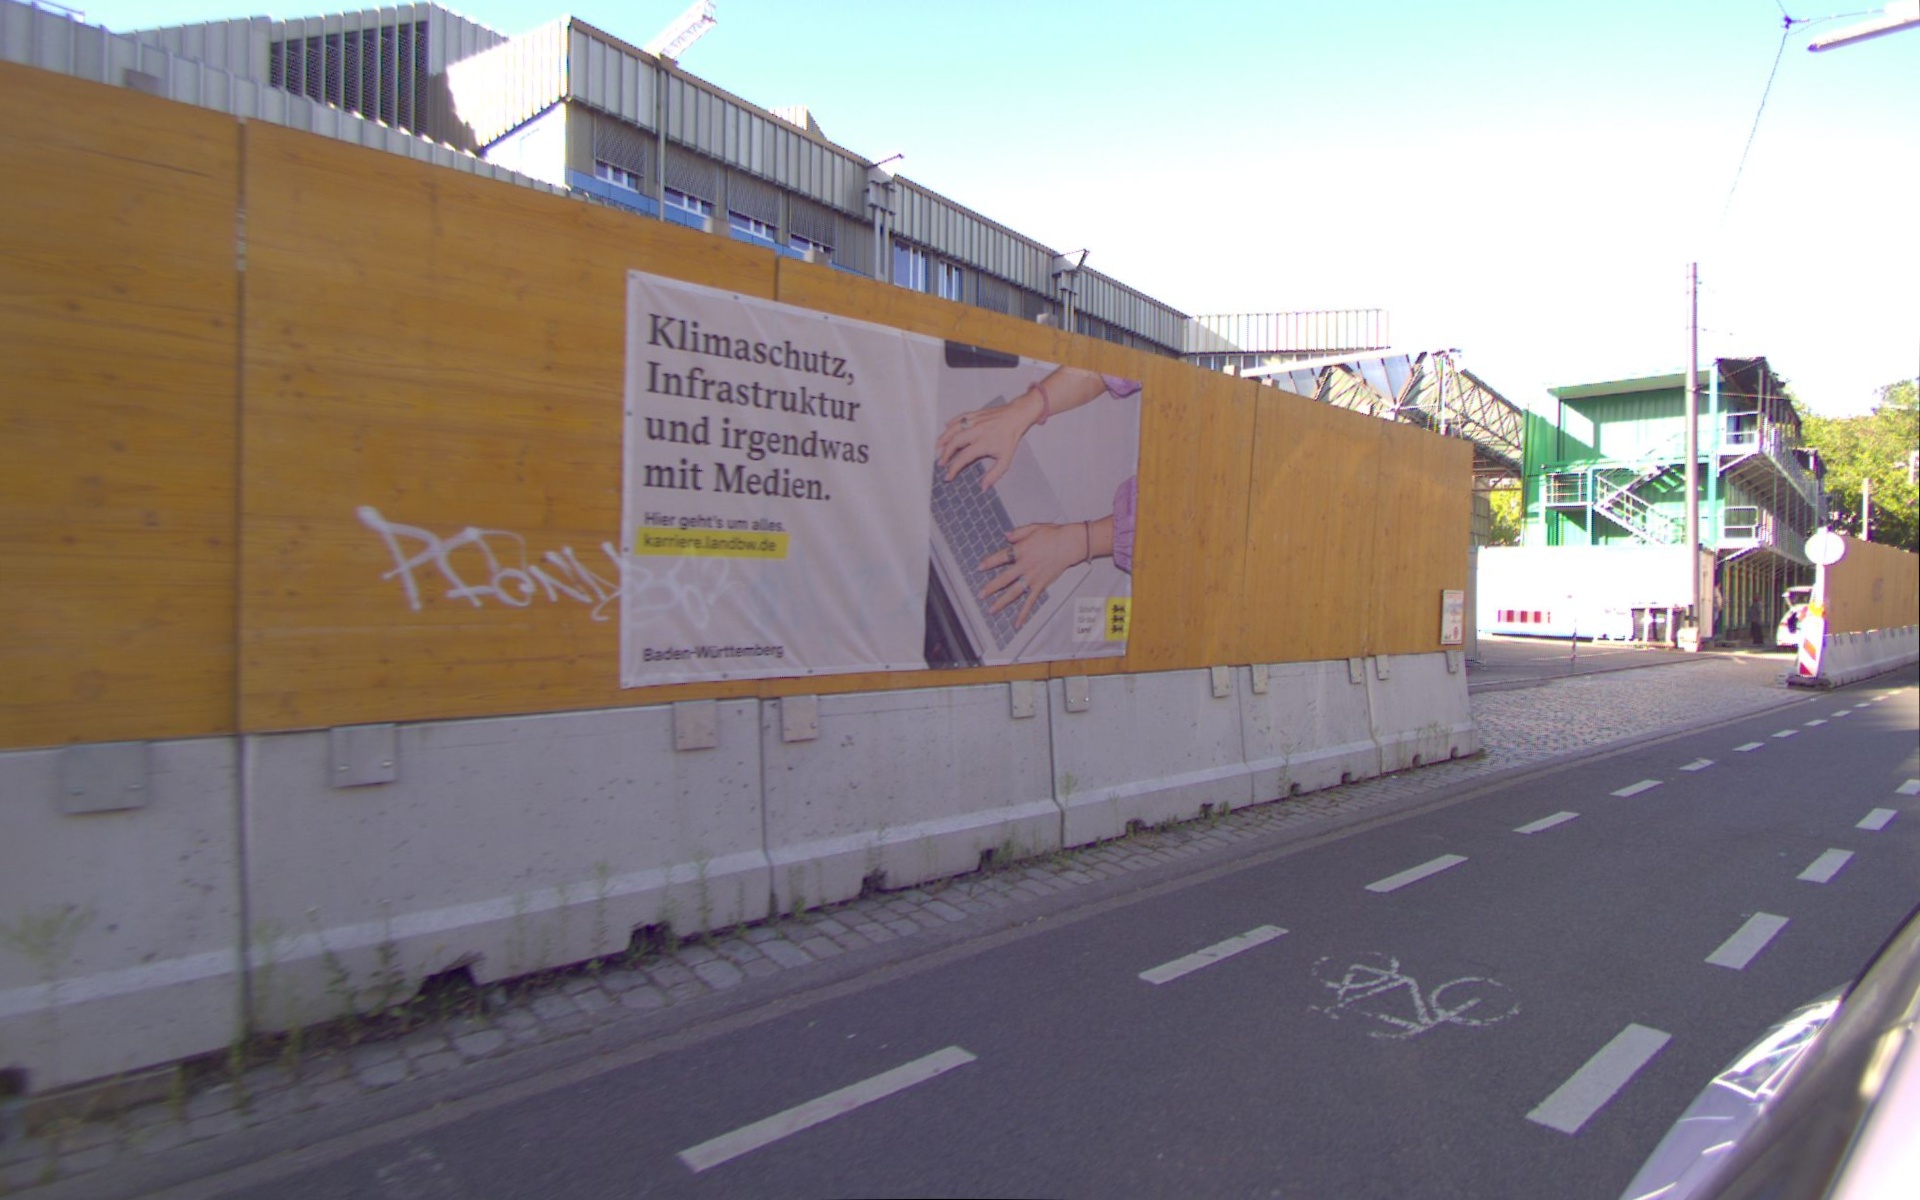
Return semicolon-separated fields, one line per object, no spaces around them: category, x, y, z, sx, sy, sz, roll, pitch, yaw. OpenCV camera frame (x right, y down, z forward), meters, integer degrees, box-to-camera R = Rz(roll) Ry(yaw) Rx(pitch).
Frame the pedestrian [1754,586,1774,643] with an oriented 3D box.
pedestrian;25.582;0.448;32.210;0.445;1.780;0.373;0;0;30

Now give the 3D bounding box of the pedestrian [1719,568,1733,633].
pedestrian;24.723;0.022;32.666;0.306;2.071;0.347;0;0;44
